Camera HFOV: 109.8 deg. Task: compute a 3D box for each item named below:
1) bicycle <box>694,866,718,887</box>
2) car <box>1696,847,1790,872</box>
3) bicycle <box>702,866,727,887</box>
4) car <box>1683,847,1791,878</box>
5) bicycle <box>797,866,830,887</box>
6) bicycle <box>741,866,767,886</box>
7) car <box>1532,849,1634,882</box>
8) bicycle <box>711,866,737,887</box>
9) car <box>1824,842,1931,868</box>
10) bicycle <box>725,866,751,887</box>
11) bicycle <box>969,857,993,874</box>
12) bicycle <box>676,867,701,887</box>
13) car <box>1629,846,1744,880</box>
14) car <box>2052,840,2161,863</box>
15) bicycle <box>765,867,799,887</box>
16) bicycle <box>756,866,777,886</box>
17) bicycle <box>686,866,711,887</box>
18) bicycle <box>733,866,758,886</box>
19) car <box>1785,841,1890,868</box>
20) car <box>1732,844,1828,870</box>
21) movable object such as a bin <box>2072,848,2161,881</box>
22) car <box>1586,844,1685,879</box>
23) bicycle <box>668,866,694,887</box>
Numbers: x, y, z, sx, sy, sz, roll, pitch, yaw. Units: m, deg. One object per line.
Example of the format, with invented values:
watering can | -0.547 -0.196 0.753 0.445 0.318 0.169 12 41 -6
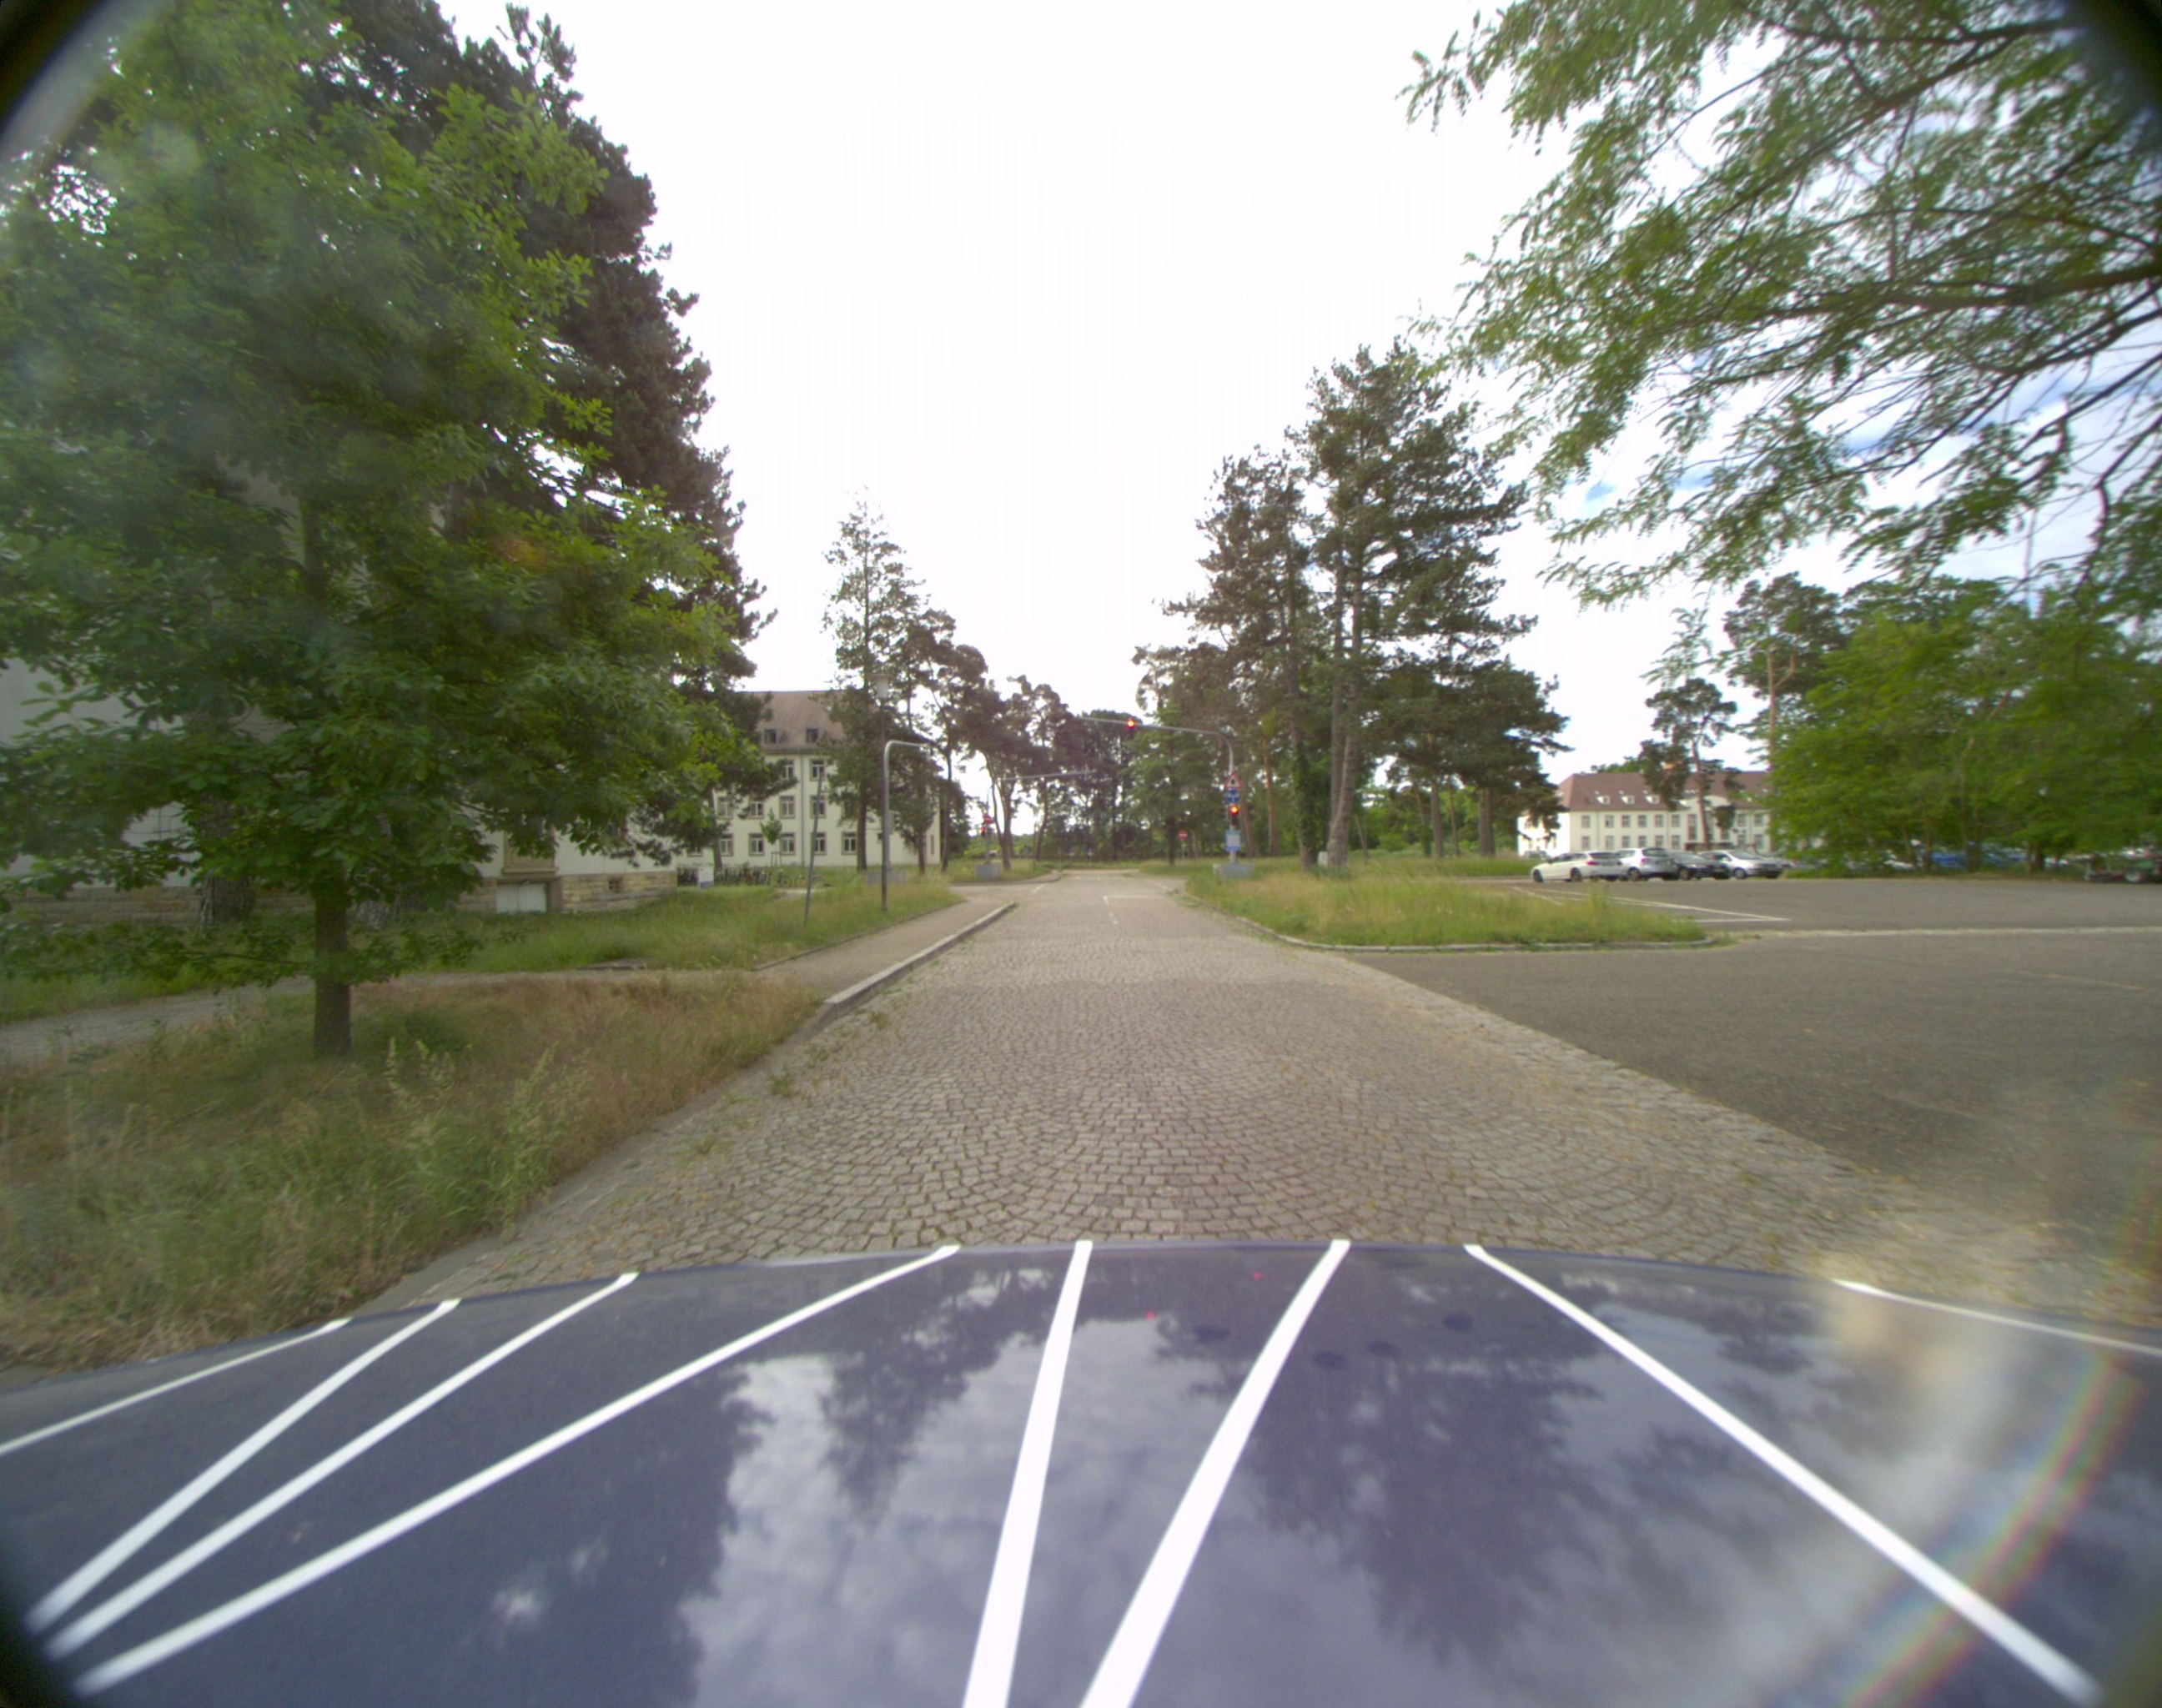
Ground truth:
bicycle | -21.632 1.277 43.866 0.448 1.121 1.731 -1 0 4
car | 40.609 0.312 46.738 1.829 1.466 4.401 -1 0 -2
bicycle | -21.122 1.279 43.839 0.448 1.121 1.731 -1 0 4
car | 31.332 0.377 36.456 1.637 1.391 4.037 -1 0 -2
bicycle | -14.933 1.254 42.432 1.656 1.079 0.614 -1 1 -3
bicycle | -18.810 1.269 43.730 0.476 1.121 1.704 -1 0 9
car | 23.371 0.499 35.585 1.829 1.417 4.319 -1 0 -2
bicycle | -20.573 1.285 43.789 0.447 1.121 1.732 -1 0 9
car | 48.996 0.060 46.901 1.830 1.466 4.401 -1 0 -4
bicycle | -19.779 1.287 43.829 0.447 1.121 1.732 -1 0 9
bicycle | -6.602 0.756 50.299 0.613 1.079 1.660 -1 0 32
bicycle | -22.653 1.304 43.913 0.448 1.121 1.731 -1 0 4
car | 28.532 0.395 35.998 1.829 1.466 4.401 -1 0 -2
car | 63.162 -0.134 46.562 1.710 1.343 4.402 -1 0 0
bicycle | -16.634 1.256 42.306 1.655 1.079 0.615 -1 1 3
bicycle | -18.184 1.272 43.958 0.476 1.121 1.656 -1 0 0
bicycle | -22.114 1.278 43.901 0.448 1.121 1.731 -1 0 4
bicycle | -19.304 1.266 43.759 0.447 1.121 1.703 -1 0 9
car | 46.061 0.048 46.407 1.830 1.466 4.401 -3 0 -4
car | 43.164 0.183 47.054 1.829 1.466 4.401 -1 0 -2
movable object such as a bin | 32.416 0.300 23.333 1.447 0.963 1.957 -1 0 -7
car | 25.878 0.400 35.610 1.674 1.510 3.899 -1 -2 -2
bicycle | -23.139 1.300 43.956 0.448 1.121 1.731 -1 0 4
